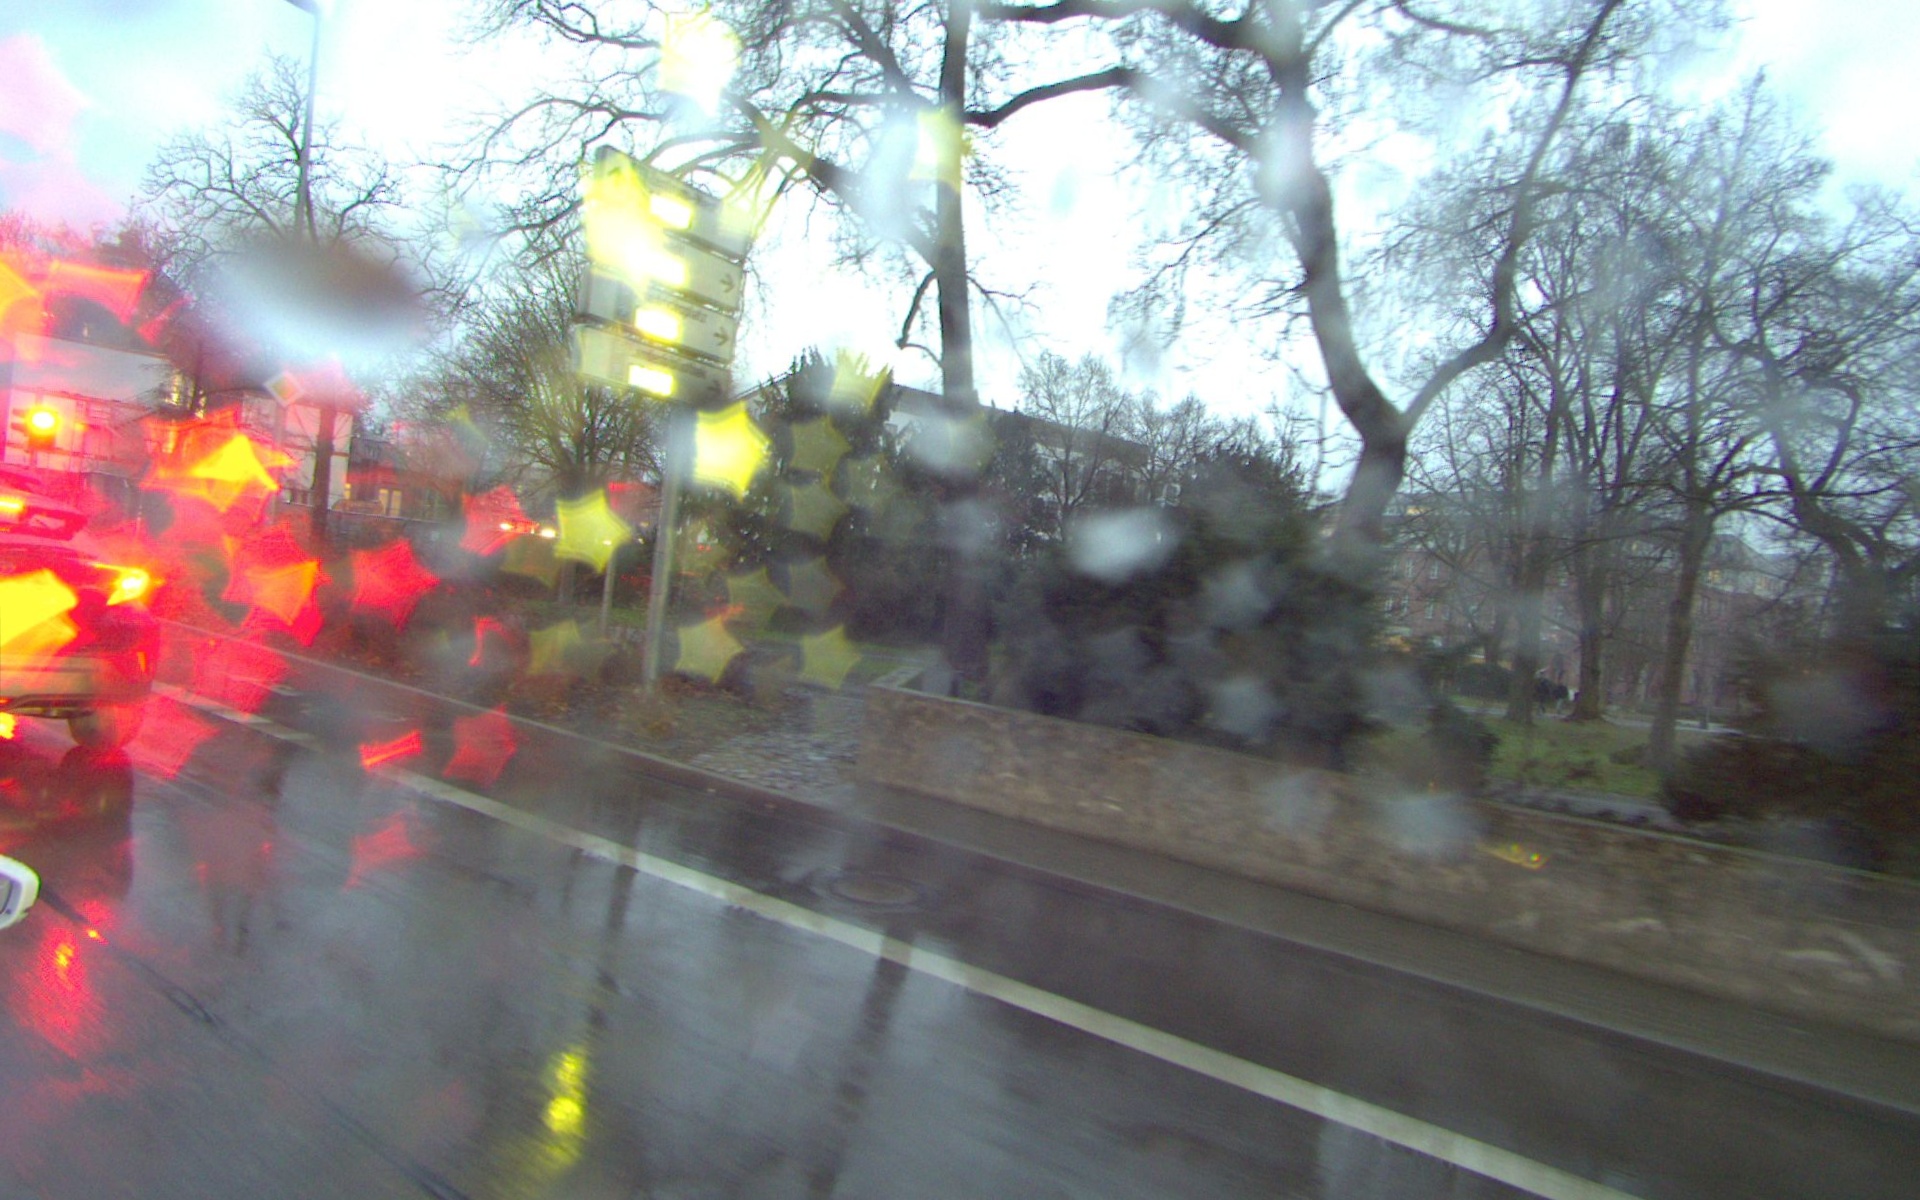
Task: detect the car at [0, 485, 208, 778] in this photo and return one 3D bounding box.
[{"bbox_3d":[-6.610,-0.024,6.207,3.831,1.529,1.802,7,0,32],"label":"car"}]

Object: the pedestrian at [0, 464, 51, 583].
[{"bbox_3d":[-17.171,-1.407,18.092,0.993,2.039,0.958,8,1,40],"label":"pedestrian"}]

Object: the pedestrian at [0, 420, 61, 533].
[{"bbox_3d":[-18.571,-2.428,19.637,0.988,2.039,0.962,7,1,10],"label":"pedestrian"}]
